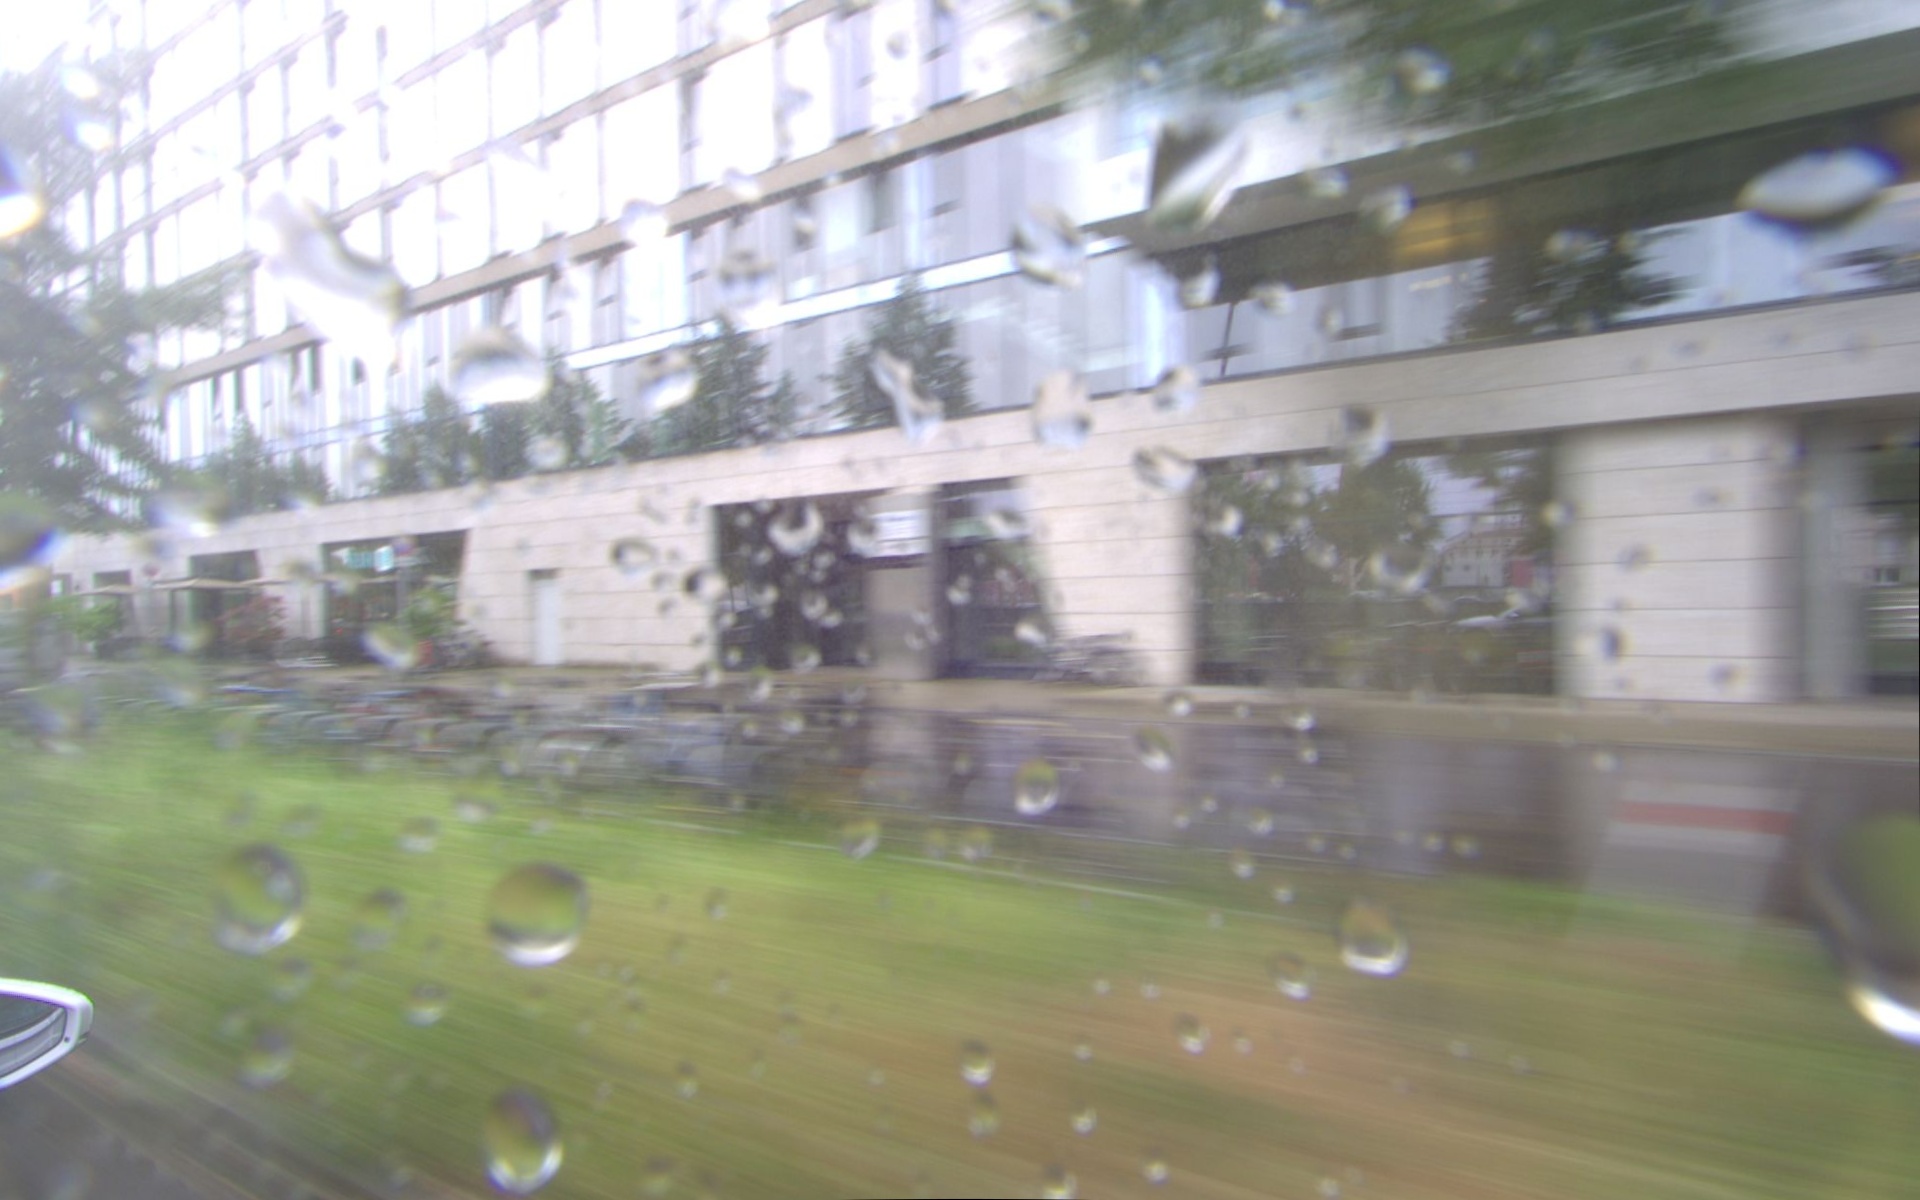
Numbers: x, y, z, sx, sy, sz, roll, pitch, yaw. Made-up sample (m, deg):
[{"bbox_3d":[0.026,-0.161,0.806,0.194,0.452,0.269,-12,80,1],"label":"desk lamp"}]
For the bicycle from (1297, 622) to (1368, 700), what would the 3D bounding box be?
[{"bbox_3d":[5.444,0.852,14.583,0.534,1.041,1.801,-1,-1,35],"label":"bicycle"}]

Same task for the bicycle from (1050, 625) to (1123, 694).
[{"bbox_3d":[2.083,0.945,16.324,0.406,1.041,1.745,-1,-1,35],"label":"bicycle"}]

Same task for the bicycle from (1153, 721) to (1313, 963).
[{"bbox_3d":[1.328,1.074,4.740,0.272,0.860,1.284,-1,0,37],"label":"bicycle"}]

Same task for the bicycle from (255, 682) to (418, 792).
[{"bbox_3d":[-5.736,1.234,9.280,0.271,0.860,1.286,-1,0,32],"label":"bicycle"}]

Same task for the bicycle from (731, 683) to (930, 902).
[{"bbox_3d":[-0.712,1.061,5.919,0.343,1.031,1.450,-1,0,30],"label":"bicycle"}]

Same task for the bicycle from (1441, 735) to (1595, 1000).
[{"bbox_3d":[2.465,1.095,4.375,0.272,0.860,1.281,0,0,44],"label":"bicycle"}]

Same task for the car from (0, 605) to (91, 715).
[{"bbox_3d":[-17.594,1.022,17.894,4.622,1.814,1.902,-1,0,33],"label":"car"}]

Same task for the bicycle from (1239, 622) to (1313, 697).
[{"bbox_3d":[4.773,0.868,15.068,0.534,1.041,1.801,-1,-1,35],"label":"bicycle"}]

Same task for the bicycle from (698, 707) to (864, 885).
[{"bbox_3d":[-1.059,1.150,6.164,0.271,0.860,1.288,-1,0,27],"label":"bicycle"}]

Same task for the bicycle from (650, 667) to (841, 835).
[{"bbox_3d":[-1.414,0.972,6.902,0.308,0.960,1.706,-1,-2,26],"label":"bicycle"}]

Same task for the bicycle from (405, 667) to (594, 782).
[{"bbox_3d":[-3.935,1.035,8.684,0.271,0.860,1.612,-1,-2,32],"label":"bicycle"}]

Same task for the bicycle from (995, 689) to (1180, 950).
[{"bbox_3d":[0.689,1.046,5.116,0.272,1.088,1.282,0,0,40],"label":"bicycle"}]

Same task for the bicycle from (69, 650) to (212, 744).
[{"bbox_3d":[-9.689,1.122,11.887,0.271,1.009,1.286,0,0,32],"label":"bicycle"}]

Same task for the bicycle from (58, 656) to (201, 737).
[{"bbox_3d":[-9.974,1.143,12.067,0.306,0.860,1.286,-1,0,32],"label":"bicycle"}]

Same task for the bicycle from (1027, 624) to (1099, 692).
[{"bbox_3d":[1.727,0.936,16.567,0.417,1.041,1.689,-1,-1,35],"label":"bicycle"}]

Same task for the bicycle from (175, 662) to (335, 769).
[{"bbox_3d":[-6.946,1.109,9.918,0.271,0.931,1.286,0,0,32],"label":"bicycle"}]

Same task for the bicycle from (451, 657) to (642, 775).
[{"bbox_3d":[-3.377,0.918,8.319,0.271,0.860,1.612,-1,-2,32],"label":"bicycle"}]

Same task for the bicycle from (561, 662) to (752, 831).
[{"bbox_3d":[-2.236,1.042,7.572,0.292,1.067,1.610,0,0,30],"label":"bicycle"}]

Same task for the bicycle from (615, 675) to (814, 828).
[{"bbox_3d":[-1.676,1.014,7.122,0.309,0.860,1.704,0,0,28],"label":"bicycle"}]

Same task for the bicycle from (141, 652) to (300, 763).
[{"bbox_3d":[-7.513,1.064,10.230,0.271,1.002,1.286,-1,0,32],"label":"bicycle"}]

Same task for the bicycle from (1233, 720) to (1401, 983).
[{"bbox_3d":[1.725,1.082,4.701,0.272,0.860,1.666,-1,0,36],"label":"bicycle"}]

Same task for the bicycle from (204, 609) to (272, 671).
[{"bbox_3d":[-22.431,1.207,31.088,3.075,1.745,0.643,2,1,33],"label":"bicycle"}]

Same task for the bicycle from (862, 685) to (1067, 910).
[{"bbox_3d":[0.073,1.047,5.688,0.344,1.031,1.433,0,0,39],"label":"bicycle"}]

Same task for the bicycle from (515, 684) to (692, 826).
[{"bbox_3d":[-2.626,1.113,7.507,0.271,0.860,1.403,-1,0,30],"label":"bicycle"}]

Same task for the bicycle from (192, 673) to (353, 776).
[{"bbox_3d":[-6.660,1.179,9.758,0.271,0.860,1.286,0,0,32],"label":"bicycle"}]

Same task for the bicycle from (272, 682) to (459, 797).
[{"bbox_3d":[-5.398,1.242,9.183,0.273,0.860,1.519,-1,0,32],"label":"bicycle"}]

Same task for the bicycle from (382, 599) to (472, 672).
[{"bbox_3d":[-13.920,0.884,26.099,3.075,1.745,0.643,2,1,33],"label":"bicycle"}]

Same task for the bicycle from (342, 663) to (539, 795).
[{"bbox_3d":[-4.635,1.115,9.054,0.316,1.001,1.640,0,0,32],"label":"bicycle"}]

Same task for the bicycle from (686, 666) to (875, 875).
[{"bbox_3d":[-1.126,1.049,6.671,0.279,1.117,1.705,-1,0,26],"label":"bicycle"}]

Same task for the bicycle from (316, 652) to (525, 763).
[{"bbox_3d":[-4.932,0.952,9.293,0.271,0.860,1.813,0,0,32],"label":"bicycle"}]

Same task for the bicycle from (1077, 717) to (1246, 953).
[{"bbox_3d":[1.008,1.063,4.827,0.272,0.869,1.284,0,0,37],"label":"bicycle"}]

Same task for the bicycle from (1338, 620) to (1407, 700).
[{"bbox_3d":[5.893,0.825,14.261,0.534,1.041,1.801,-1,-1,35],"label":"bicycle"}]

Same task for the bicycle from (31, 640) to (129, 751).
[{"bbox_3d":[-7.351,0.770,8.351,1.274,0.860,0.274,-1,0,33],"label":"bicycle"}]

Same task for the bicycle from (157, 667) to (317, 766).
[{"bbox_3d":[-7.246,1.143,10.089,0.271,0.860,1.286,-1,0,32],"label":"bicycle"}]

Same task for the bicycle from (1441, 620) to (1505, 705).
[{"bbox_3d":[6.942,0.810,13.513,0.534,1.041,1.801,-1,-1,35],"label":"bicycle"}]

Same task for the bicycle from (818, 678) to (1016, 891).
[{"bbox_3d":[-0.209,1.027,5.955,0.344,1.031,1.434,0,0,37],"label":"bicycle"}]

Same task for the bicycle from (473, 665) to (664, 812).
[{"bbox_3d":[-3.126,1.067,8.146,0.271,1.035,1.612,-1,-2,32],"label":"bicycle"}]

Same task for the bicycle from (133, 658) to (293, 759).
[{"bbox_3d":[-7.750,1.099,10.445,0.271,0.922,1.323,0,0,32],"label":"bicycle"}]

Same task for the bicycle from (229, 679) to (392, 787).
[{"bbox_3d":[-6.058,1.215,9.397,0.271,0.860,1.286,-1,0,32],"label":"bicycle"}]

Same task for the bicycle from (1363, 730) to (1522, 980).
[{"bbox_3d":[2.238,1.097,4.582,0.272,0.860,1.281,0,0,44],"label":"bicycle"}]

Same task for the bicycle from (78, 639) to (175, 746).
[{"bbox_3d":[-7.210,0.773,8.648,1.274,0.860,0.274,-1,0,33],"label":"bicycle"}]

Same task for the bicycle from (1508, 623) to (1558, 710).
[{"bbox_3d":[7.499,0.829,13.084,0.396,1.041,1.801,-1,-1,35],"label":"bicycle"}]

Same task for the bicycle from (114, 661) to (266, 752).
[{"bbox_3d":[-8.323,1.133,10.875,0.271,0.860,1.286,-1,0,32],"label":"bicycle"}]

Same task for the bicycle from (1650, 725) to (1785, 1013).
[{"bbox_3d":[3.149,1.027,4.132,0.298,0.885,1.281,-1,0,44],"label":"bicycle"}]

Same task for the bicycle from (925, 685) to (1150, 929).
[{"bbox_3d":[0.479,1.042,5.473,0.403,1.031,1.567,-1,0,39],"label":"bicycle"}]

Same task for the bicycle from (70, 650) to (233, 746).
[{"bbox_3d":[-9.421,1.117,11.720,0.306,0.992,1.457,-1,0,32],"label":"bicycle"}]

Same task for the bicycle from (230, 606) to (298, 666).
[{"bbox_3d":[-22.082,1.117,31.753,3.075,1.745,0.643,2,1,33],"label":"bicycle"}]

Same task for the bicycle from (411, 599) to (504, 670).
[{"bbox_3d":[-13.432,0.889,26.716,3.075,1.745,0.770,2,1,33],"label":"bicycle"}]

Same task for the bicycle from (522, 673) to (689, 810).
[{"bbox_3d":[-2.775,1.077,7.972,0.271,0.909,1.408,0,0,30],"label":"bicycle"}]

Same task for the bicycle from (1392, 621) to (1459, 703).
[{"bbox_3d":[6.501,0.833,13.933,0.534,1.041,1.801,-1,-1,35],"label":"bicycle"}]

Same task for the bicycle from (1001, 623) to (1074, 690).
[{"bbox_3d":[1.326,0.927,16.833,0.417,1.041,1.689,-1,-1,35],"label":"bicycle"}]

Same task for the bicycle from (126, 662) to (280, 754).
[{"bbox_3d":[-8.036,1.124,10.680,0.271,0.860,1.286,0,0,32],"label":"bicycle"}]

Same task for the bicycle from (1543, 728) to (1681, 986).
[{"bbox_3d":[2.885,1.055,4.390,0.272,0.843,1.281,0,0,44],"label":"bicycle"}]

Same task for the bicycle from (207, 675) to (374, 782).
[{"bbox_3d":[-6.366,1.196,9.579,0.349,0.860,1.286,-1,0,32],"label":"bicycle"}]

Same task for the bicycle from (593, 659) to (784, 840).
[{"bbox_3d":[-1.943,1.032,7.383,0.292,1.111,1.610,0,0,30],"label":"bicycle"}]

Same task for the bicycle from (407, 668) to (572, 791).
[{"bbox_3d":[-3.837,1.032,8.256,0.271,0.860,1.286,0,0,32],"label":"bicycle"}]

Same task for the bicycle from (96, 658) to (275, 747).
[{"bbox_3d":[-8.753,1.134,11.385,0.306,0.860,1.592,-1,0,32],"label":"bicycle"}]
